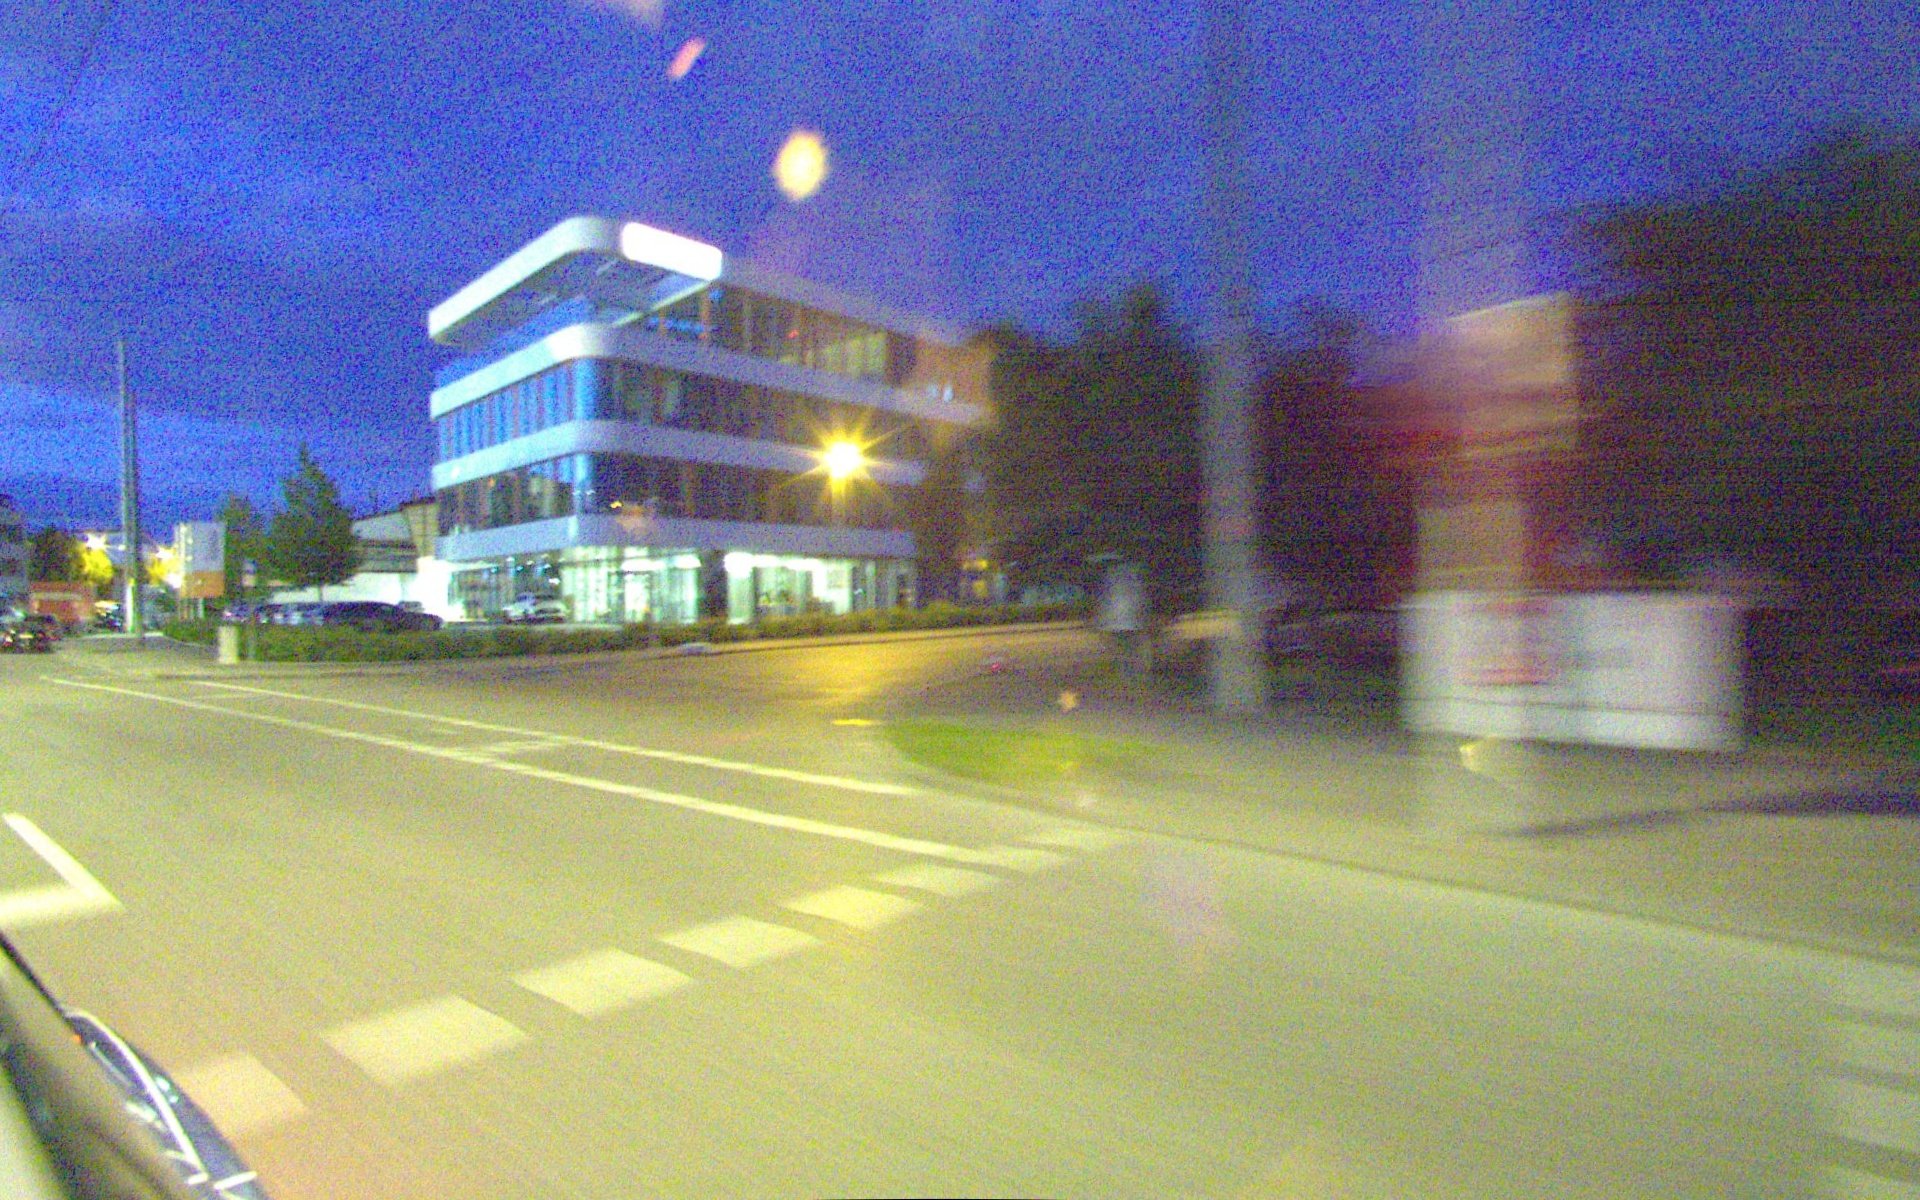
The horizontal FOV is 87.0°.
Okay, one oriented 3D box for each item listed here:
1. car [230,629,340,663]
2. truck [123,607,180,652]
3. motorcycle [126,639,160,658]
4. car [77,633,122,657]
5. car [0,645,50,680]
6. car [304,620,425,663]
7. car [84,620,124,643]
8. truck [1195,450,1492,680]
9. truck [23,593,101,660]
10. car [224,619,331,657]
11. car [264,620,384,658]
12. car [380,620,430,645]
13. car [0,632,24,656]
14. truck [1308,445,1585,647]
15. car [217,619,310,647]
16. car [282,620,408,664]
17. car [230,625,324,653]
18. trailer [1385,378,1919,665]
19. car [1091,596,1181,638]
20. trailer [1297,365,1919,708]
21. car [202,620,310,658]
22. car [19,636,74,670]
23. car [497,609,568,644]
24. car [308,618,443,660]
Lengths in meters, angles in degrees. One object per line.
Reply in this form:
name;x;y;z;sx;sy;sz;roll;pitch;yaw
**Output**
car;-32.947;2.201;49.477;4.217;1.404;1.829;-1;0;-44
truck;-77.637;2.747;97.370;2.708;4.064;9.590;-1;0;-29
motorcycle;-54.455;3.215;67.478;0.528;1.109;1.679;-1;3;24
car;-68.564;3.520;80.721;1.917;1.730;5.213;-1;-1;-31
car;-42.355;2.790;45.623;1.793;1.382;4.363;-1;-1;-45
car;-25.175;1.711;42.865;4.084;1.591;1.843;-1;0;-44
car;-100.574;3.670;118.934;1.966;2.544;5.928;-4;1;-25
truck;7.500;-0.634;20.207;3.017;3.962;4.516;-3;1;-33
truck;-60.429;1.748;68.300;2.735;4.151;9.365;-1;-1;-34
car;-37.218;2.038;55.236;4.554;1.829;1.964;-1;0;-44
car;-28.975;1.739;46.201;4.353;1.490;1.852;-1;0;-44
car;-37.397;2.177;68.156;1.879;1.468;4.469;-3;1;-42
car;-85.917;3.946;90.524;1.965;2.029;4.927;-1;-1;-27
truck;11.249;-1.155;23.847;3.015;4.179;4.952;-3;1;-26
car;-42.209;1.956;61.394;4.353;1.493;1.894;-1;0;-44
car;-26.920;1.794;44.384;1.963;1.693;4.355;-2;0;44
car;-40.417;2.272;59.924;4.353;1.463;1.829;-1;0;-44
trailer;14.490;-1.183;17.141;3.015;4.179;15.051;-3;1;-26
car;7.279;0.683;41.550;1.889;1.563;3.947;-2;0;40
trailer;11.741;-0.774;13.555;3.017;3.962;15.044;-3;1;-33
car;-36.574;1.986;52.640;4.353;1.829;1.964;-1;-1;-44
car;-48.274;2.770;53.524;1.842;1.605;4.503;-1;0;-38
car;-21.856;1.358;51.700;1.970;1.654;4.206;-2;0;-43
car;-23.478;1.530;40.753;4.394;1.463;2.064;-2;0;-41
